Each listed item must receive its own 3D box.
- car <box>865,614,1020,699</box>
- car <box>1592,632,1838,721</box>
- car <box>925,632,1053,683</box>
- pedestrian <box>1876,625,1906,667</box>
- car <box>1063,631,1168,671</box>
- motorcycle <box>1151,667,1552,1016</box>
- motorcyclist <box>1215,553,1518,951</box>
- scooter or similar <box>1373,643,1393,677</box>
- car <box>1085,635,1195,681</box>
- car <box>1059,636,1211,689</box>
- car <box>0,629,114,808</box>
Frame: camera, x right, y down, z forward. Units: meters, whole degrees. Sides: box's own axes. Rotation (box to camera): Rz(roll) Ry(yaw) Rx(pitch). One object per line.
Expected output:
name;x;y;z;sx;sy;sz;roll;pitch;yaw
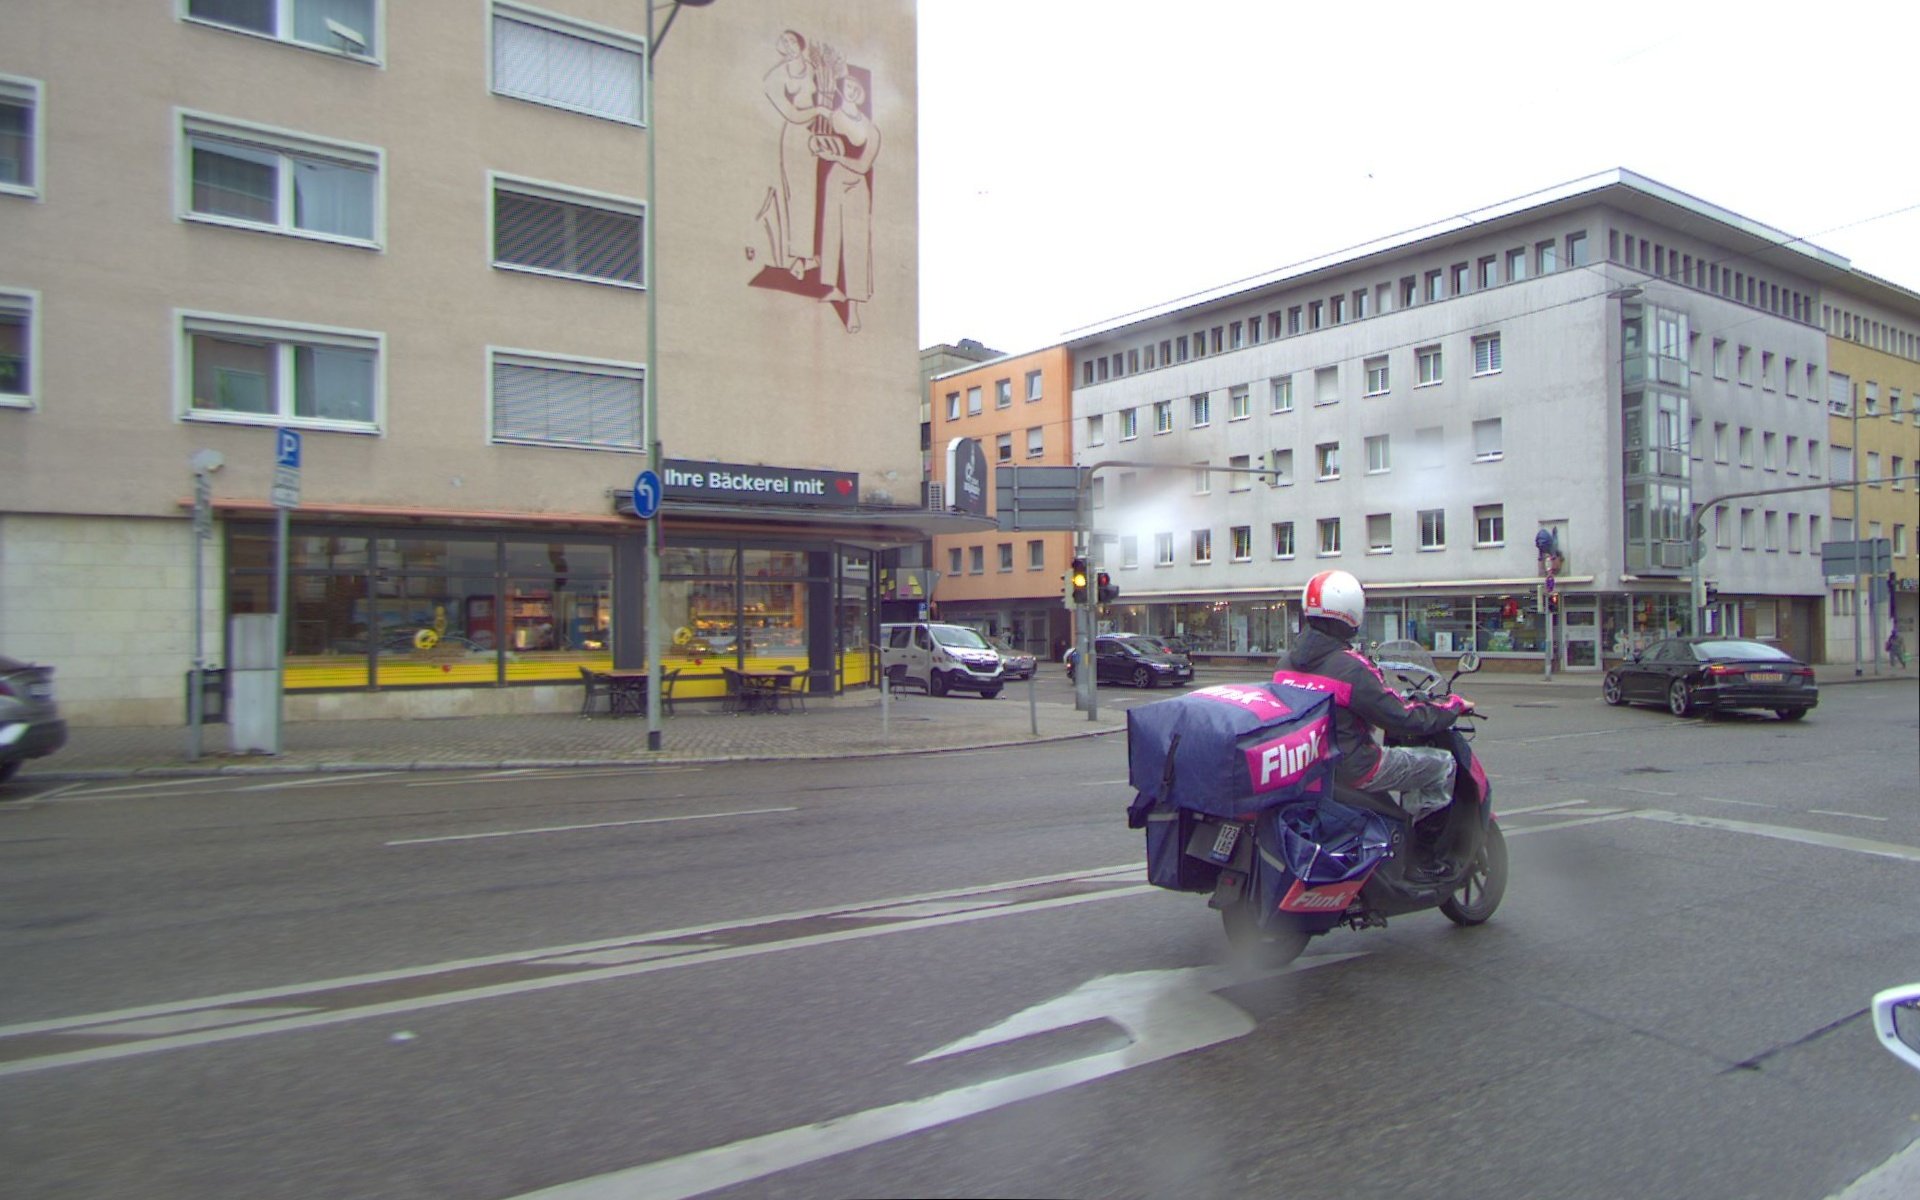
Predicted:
car;-0.588;1.552;27.974;2.025;2.130;4.823;4;-4;-33
car;13.806;1.349;18.766;1.960;1.406;4.503;-2;-2;13
car;0.941;1.966;35.374;2.028;1.610;4.606;-1;-1;-38
pedestrian;36.448;1.782;39.324;0.644;1.602;0.684;0;1;-29
car;6.788;2.212;44.229;2.031;1.652;4.288;1;-3;-42
motorcycle;1.812;0.930;4.472;2.080;1.207;0.583;2;-1;-34
motorcyclist;1.776;0.589;4.442;0.855;1.513;0.909;1;-1;-33
scooter or similar;15.052;2.132;35.716;0.360;1.109;1.131;-3;0;36
car;6.738;2.186;37.943;1.684;1.648;3.955;2;-4;-40
car;5.186;1.814;30.218;2.027;1.394;4.295;-1;-1;-37
car;-10.646;1.038;8.796;4.571;1.574;1.901;2;-3;-27
